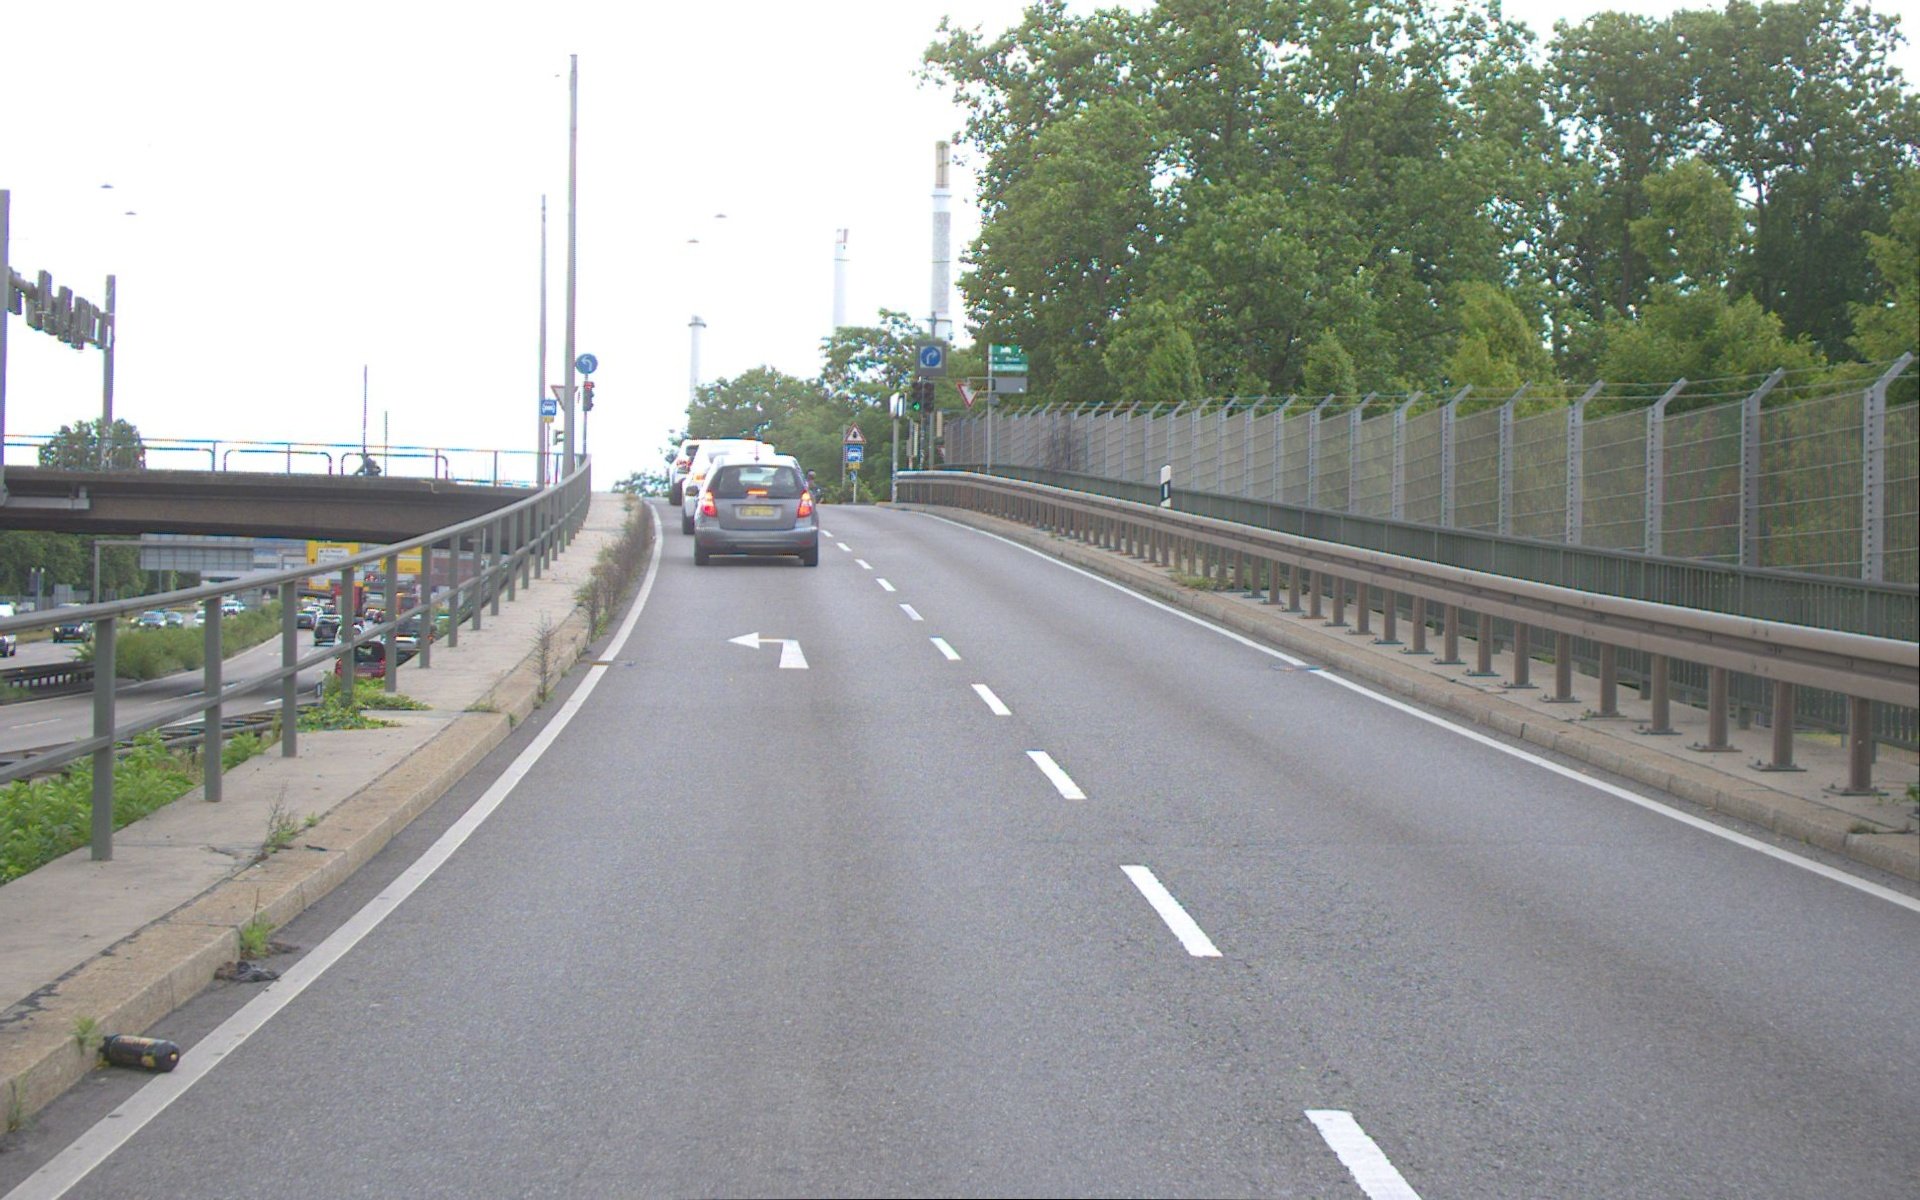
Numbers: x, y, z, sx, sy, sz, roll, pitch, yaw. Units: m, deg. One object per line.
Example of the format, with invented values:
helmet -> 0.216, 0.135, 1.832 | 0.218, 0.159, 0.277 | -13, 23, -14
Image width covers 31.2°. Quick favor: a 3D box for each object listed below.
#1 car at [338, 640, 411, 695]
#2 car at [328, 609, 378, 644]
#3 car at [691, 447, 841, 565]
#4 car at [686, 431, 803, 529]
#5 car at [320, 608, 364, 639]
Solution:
car -> -17.319, 1.983, 101.804 | 1.993, 1.415, 4.001 | 2, 1, -8
car -> -32.038, 1.373, 181.476 | 1.993, 1.678, 4.000 | 2, 1, -1
car -> -2.772, -1.336, 50.023 | 1.750, 1.575, 4.085 | 2, 1, 2
car -> -3.862, -2.166, 61.244 | 1.993, 1.597, 4.002 | 0, 4, -4
car -> -37.778, 1.430, 210.196 | 1.993, 1.678, 4.000 | 2, 1, -1
